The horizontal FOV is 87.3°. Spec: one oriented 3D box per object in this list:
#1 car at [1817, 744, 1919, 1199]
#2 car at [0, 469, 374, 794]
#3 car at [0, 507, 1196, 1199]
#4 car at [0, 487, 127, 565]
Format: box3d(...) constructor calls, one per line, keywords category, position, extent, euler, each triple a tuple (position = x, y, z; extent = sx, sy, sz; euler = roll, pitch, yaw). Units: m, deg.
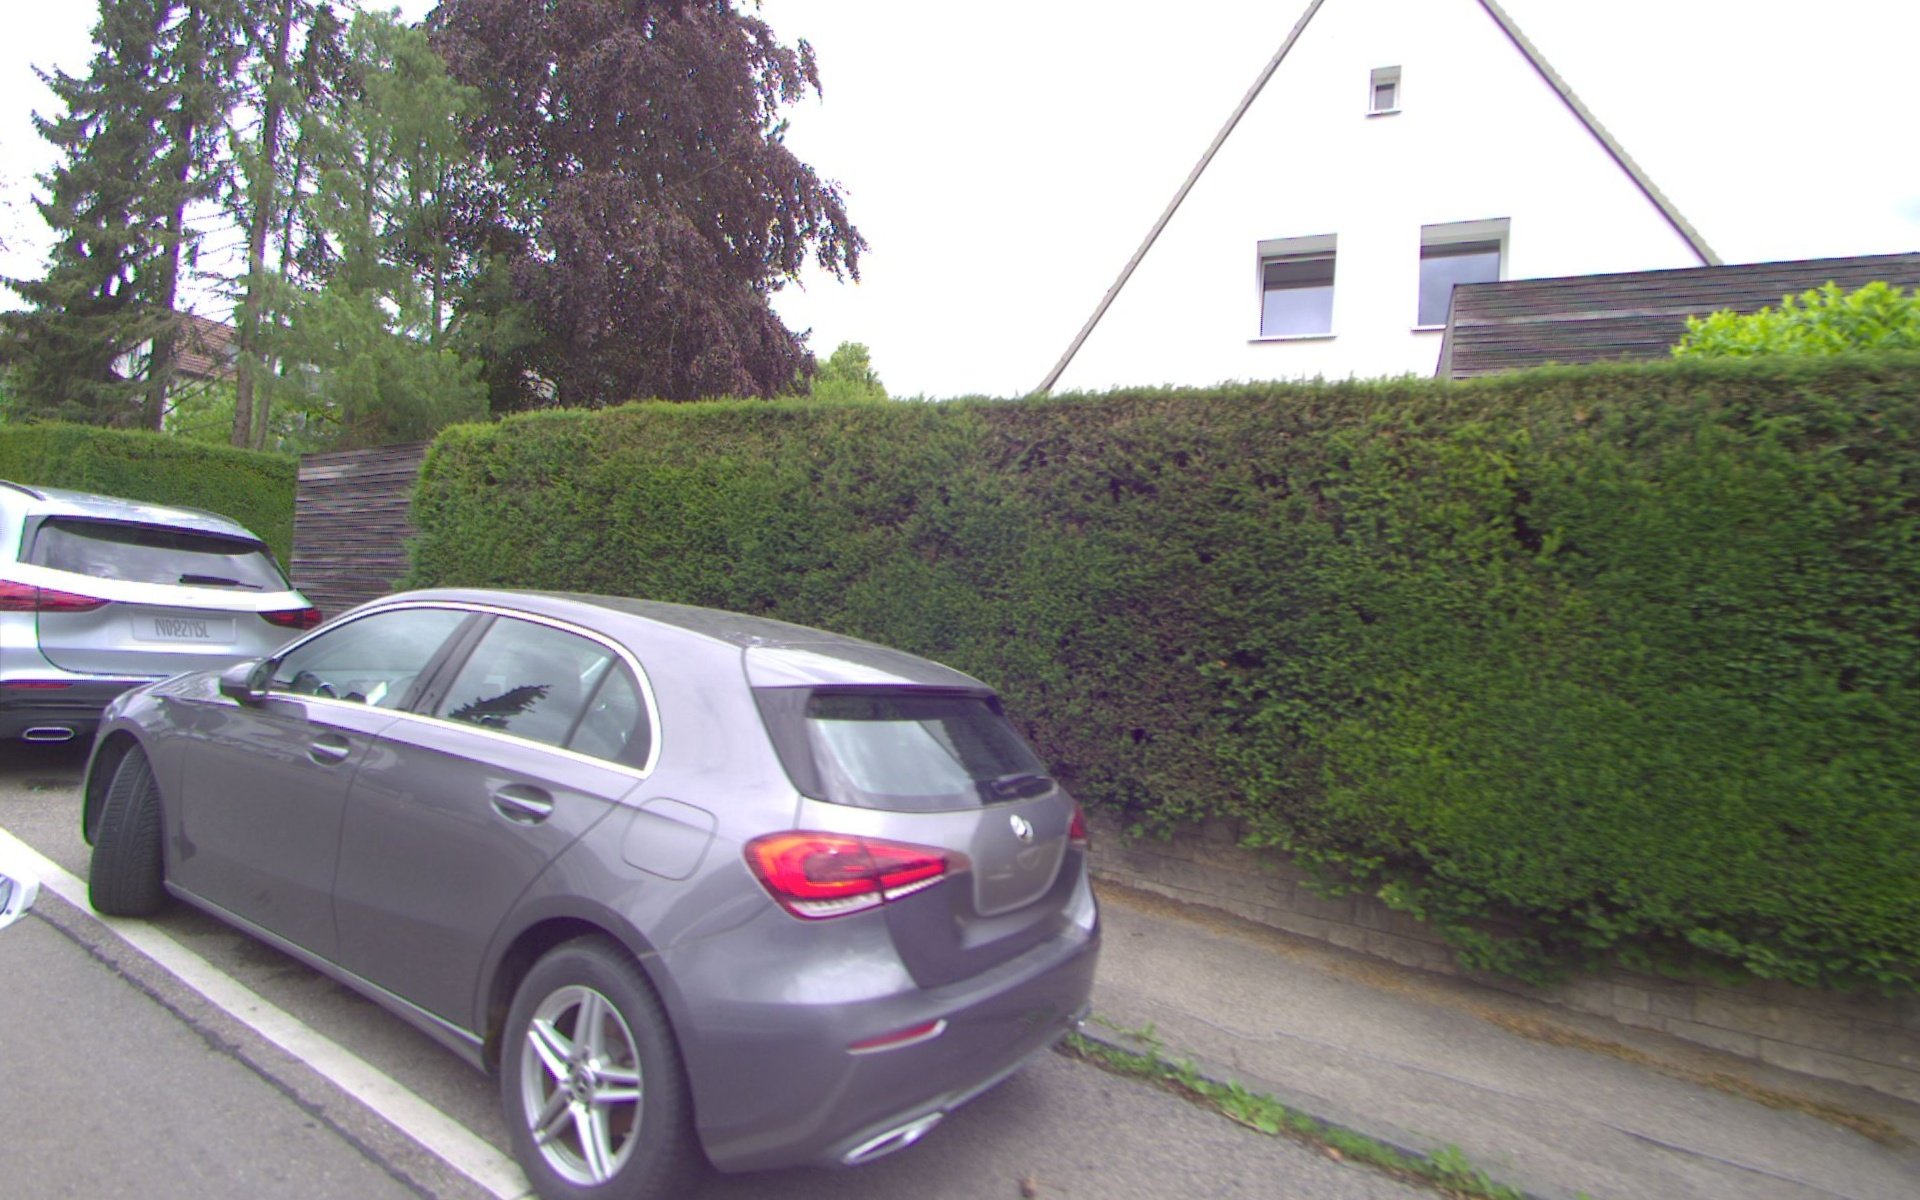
box3d(category="car", position=(3.532, 1.208, 0.842), extent=(3.933, 1.481, 1.859), euler=(6, -2, 31))
box3d(category="car", position=(-6.070, 0.057, 6.707), extent=(4.102, 1.600, 1.859), euler=(6, -2, 31))
box3d(category="car", position=(-1.483, 0.643, 3.706), extent=(4.102, 1.481, 1.859), euler=(6, -2, 31))
box3d(category="car", position=(-23.129, -1.884, 24.258), extent=(1.848, 1.620, 4.217), euler=(7, 1, 24))
